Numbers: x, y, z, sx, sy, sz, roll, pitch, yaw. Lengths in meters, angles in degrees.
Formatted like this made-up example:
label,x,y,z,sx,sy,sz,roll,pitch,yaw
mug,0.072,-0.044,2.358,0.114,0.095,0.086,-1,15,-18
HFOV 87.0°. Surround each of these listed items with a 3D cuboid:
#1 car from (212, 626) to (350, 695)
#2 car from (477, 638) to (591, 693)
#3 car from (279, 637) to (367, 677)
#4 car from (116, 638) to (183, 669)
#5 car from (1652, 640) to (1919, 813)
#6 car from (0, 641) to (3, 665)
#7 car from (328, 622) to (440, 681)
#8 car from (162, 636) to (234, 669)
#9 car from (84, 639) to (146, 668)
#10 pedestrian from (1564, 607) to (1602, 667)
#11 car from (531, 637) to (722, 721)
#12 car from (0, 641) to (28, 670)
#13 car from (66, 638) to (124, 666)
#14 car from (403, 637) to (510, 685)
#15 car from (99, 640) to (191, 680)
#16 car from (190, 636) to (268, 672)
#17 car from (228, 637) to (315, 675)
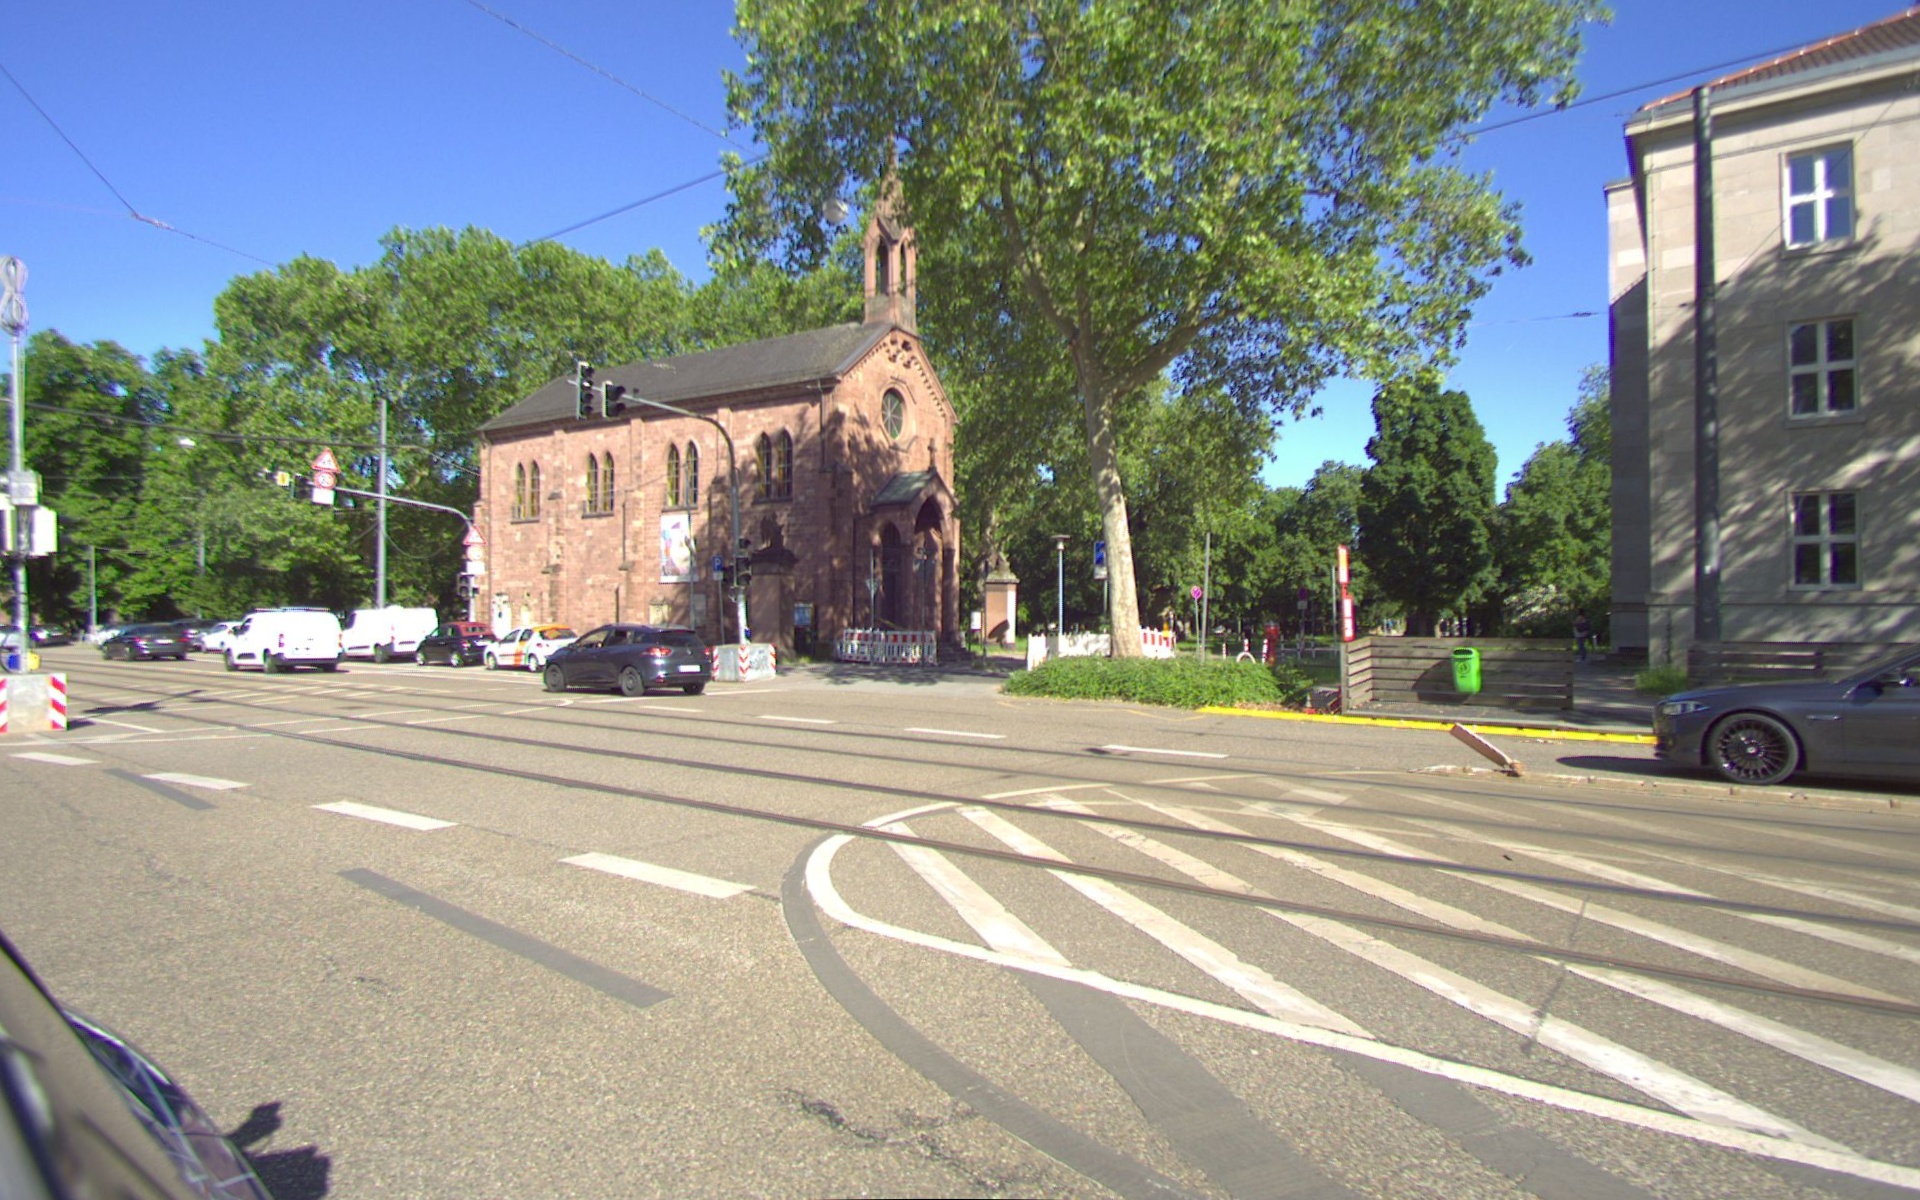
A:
label,x,y,z,sx,sy,sz,roll,pitch,yaw
car,-20.412,1.759,30.373,4.509,1.906,2.042,-1,-3,37
car,-13.562,2.036,32.176,3.671,1.586,1.758,-1,-1,38
car,-26.117,2.298,41.489,3.853,1.563,1.774,-1,-2,37
car,-43.101,2.807,53.816,4.300,1.563,1.774,-1,-2,37
car,9.242,1.108,8.972,4.958,1.464,1.811,-2,-3,41
car,-66.044,3.542,68.064,4.300,1.563,1.774,-1,-2,37
car,-21.666,1.891,38.012,4.582,2.113,1.899,-1,-2,36
car,-38.195,2.607,50.693,4.300,1.563,1.774,-1,-2,37
car,-47.804,2.990,57.244,4.300,1.563,1.774,-1,-2,37
pedestrian,20.275,1.214,32.927,0.902,1.910,0.800,-2,-3,41
car,-6.906,1.541,20.800,4.079,1.423,1.602,1,-1,35
car,-49.290,2.810,51.634,4.368,1.440,1.776,-1,-2,37
car,-51.769,3.065,60.530,4.300,1.563,1.774,-1,-2,37
car,-17.525,2.079,35.152,3.853,1.563,1.774,-1,-2,37
car,-31.678,2.300,39.290,4.368,1.440,1.776,-1,-2,37
car,-34.450,2.510,47.658,4.300,1.563,1.774,-1,-2,37
car,-30.181,2.399,44.342,4.298,1.563,1.775,-1,-2,36
